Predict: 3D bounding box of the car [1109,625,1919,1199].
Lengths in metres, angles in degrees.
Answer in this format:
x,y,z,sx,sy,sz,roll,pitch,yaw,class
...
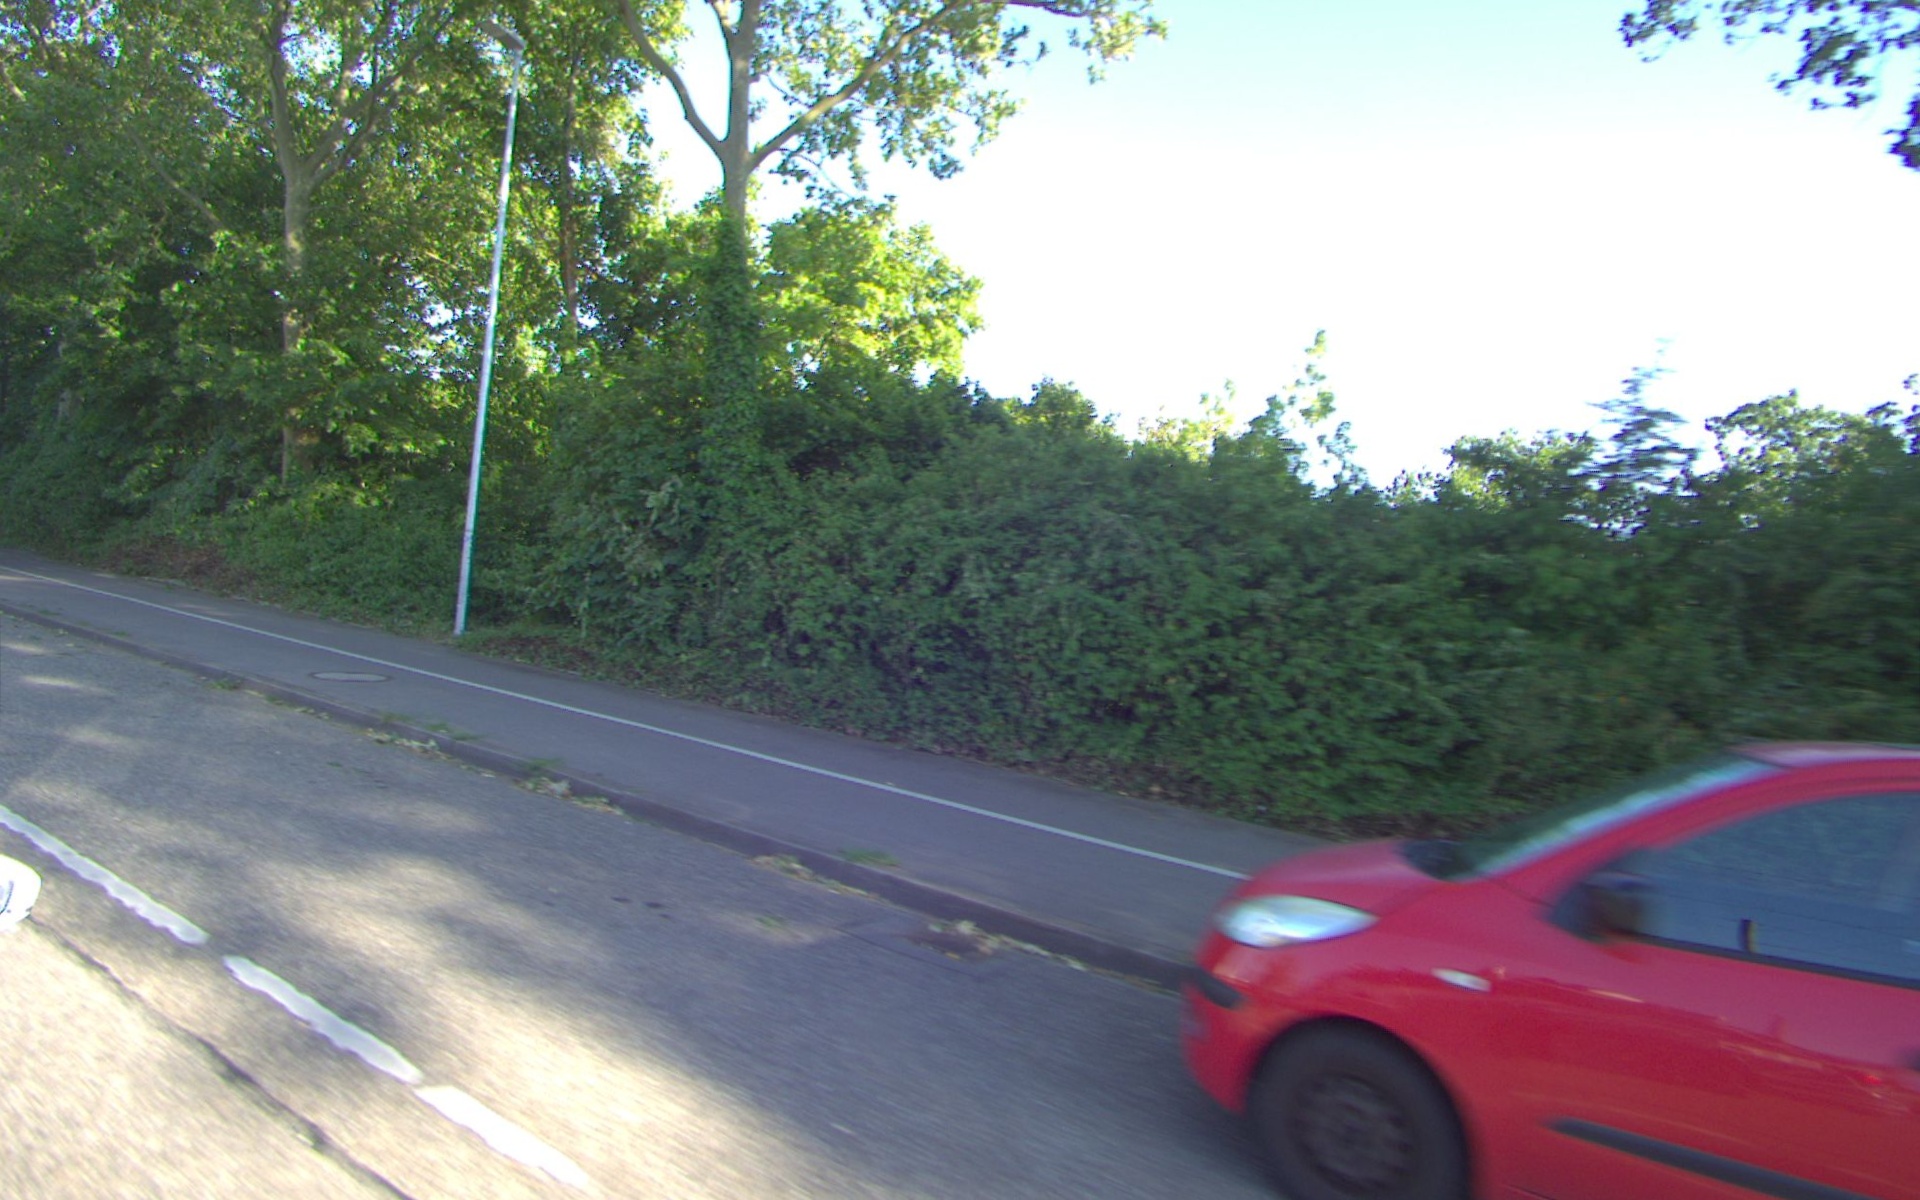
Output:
x,y,z,sx,sy,sz,roll,pitch,yaw,class
2.479,1.094,2.836,3.580,1.555,1.642,7,-1,32,car
